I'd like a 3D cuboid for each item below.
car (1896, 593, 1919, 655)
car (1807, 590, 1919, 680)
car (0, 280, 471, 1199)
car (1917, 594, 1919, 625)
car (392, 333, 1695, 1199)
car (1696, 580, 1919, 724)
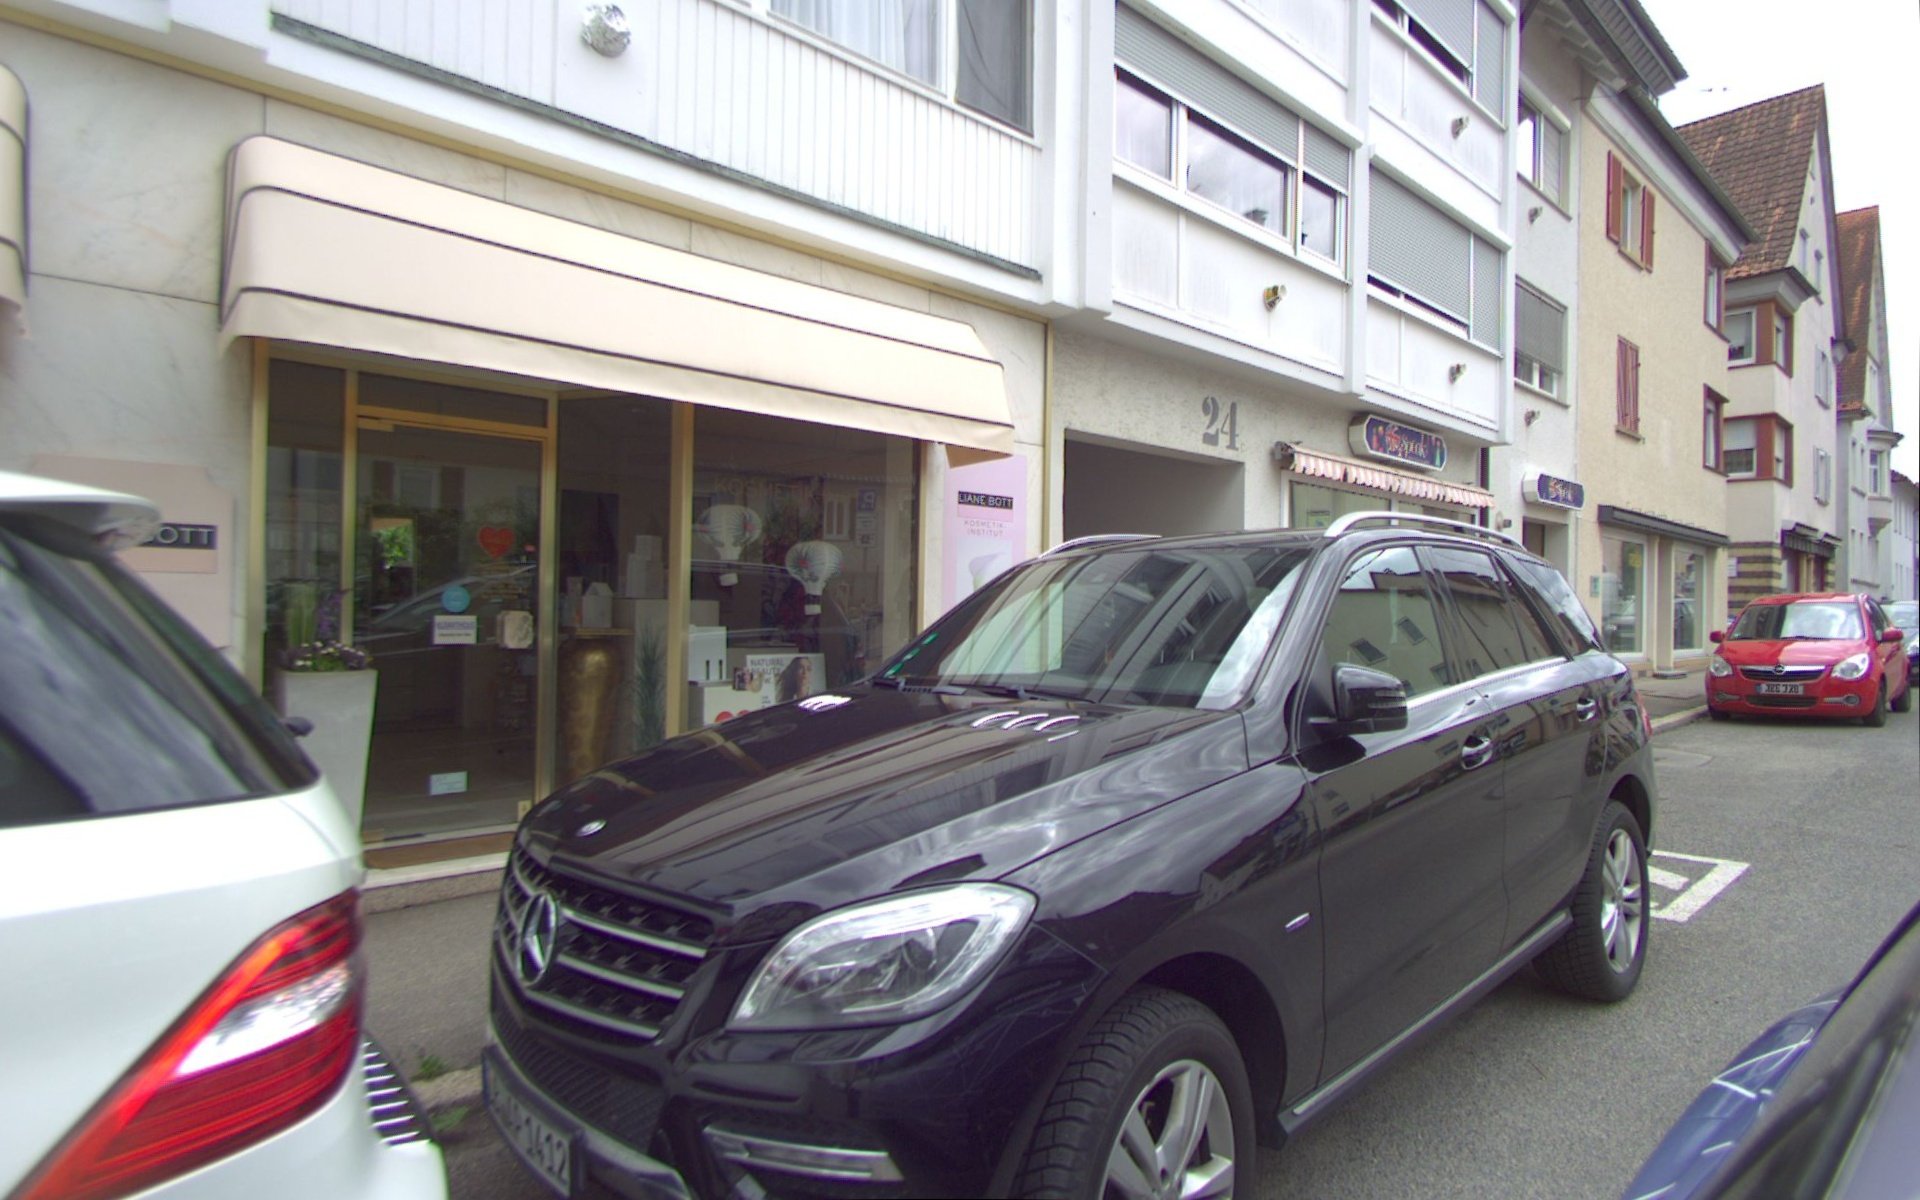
[{"bbox_3d":[23.896,0.539,24.361,3.934,1.422,1.693,0,-2,-43],"label":"car"},{"bbox_3d":[16.704,0.587,18.139,3.852,1.469,1.694,0,-3,-41],"label":"car"},{"bbox_3d":[-2.777,0.576,0.378,4.303,1.734,1.935,1,-1,-44],"label":"car"},{"bbox_3d":[27.680,0.517,27.672,4.032,1.469,1.694,0,-3,-41],"label":"car"},{"bbox_3d":[0.723,0.565,3.413,4.294,1.802,1.943,-1,-1,-42],"label":"car"},{"bbox_3d":[10.962,0.593,12.915,3.630,1.577,1.694,0,-2,-41],"label":"car"}]
